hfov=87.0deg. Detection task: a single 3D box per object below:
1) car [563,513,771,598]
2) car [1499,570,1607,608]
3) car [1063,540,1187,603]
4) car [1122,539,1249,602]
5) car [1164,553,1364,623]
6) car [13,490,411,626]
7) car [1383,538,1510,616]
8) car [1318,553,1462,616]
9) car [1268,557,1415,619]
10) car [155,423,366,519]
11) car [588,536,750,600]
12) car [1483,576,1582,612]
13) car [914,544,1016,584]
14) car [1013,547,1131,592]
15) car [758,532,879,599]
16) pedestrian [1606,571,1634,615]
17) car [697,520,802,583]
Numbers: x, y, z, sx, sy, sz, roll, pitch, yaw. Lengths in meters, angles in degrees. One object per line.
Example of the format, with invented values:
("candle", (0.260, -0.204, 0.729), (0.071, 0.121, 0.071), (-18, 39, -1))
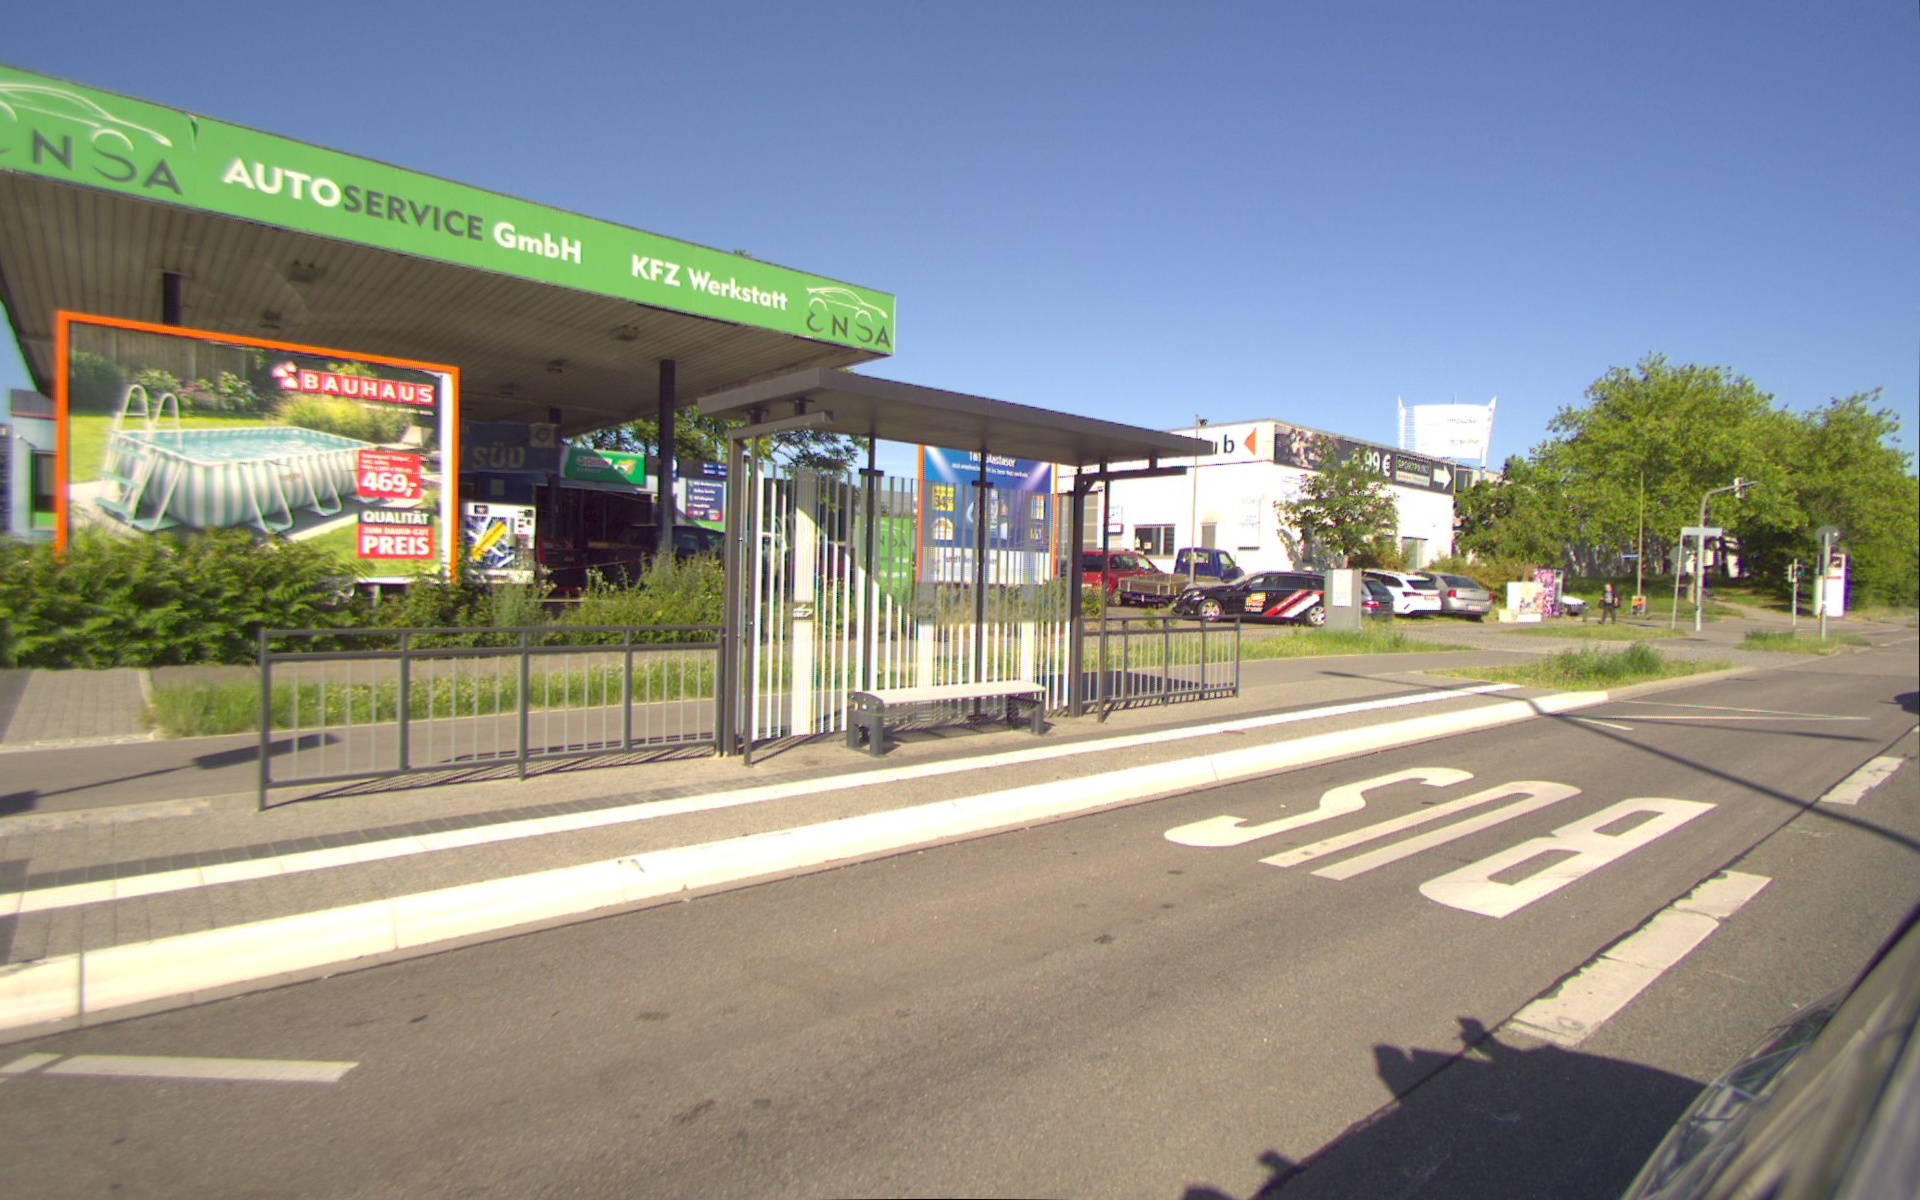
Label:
("car", (-6.357, -0.909, 22.137), (3.931, 1.668, 1.997), (-1, 1, -41))
("car", (31.986, -0.631, 54.692), (1.839, 1.958, 4.691), (0, 2, -40))
("car", (5.523, -0.975, 33.623), (4.146, 1.883, 1.896), (-1, 6, -43))
("car", (7.334, -0.972, 32.659), (4.520, 1.804, 1.686), (-1, 6, -43))
("car", (8.086, -0.357, 27.301), (4.748, 1.549, 1.901), (3, 3, 3))
("car", (-10.033, -0.526, 13.864), (4.173, 1.592, 1.748), (0, 1, -40))
("car", (16.296, -0.840, 34.140), (1.652, 2.035, 4.013), (5, 7, -9))
("car", (13.693, -0.533, 32.465), (1.690, 1.468, 3.943), (1, 8, -29))
("car", (11.371, -0.419, 30.315), (1.808, 1.304, 3.620), (-1, 9, -39))
("car", (-15.492, -2.769, 22.471), (3.711, 1.776, 1.923), (-1, 3, -40))
("car", (-7.139, -0.775, 25.105), (3.628, 1.439, 1.695), (1, 0, -6))
("car", (29.719, -0.348, 52.625), (1.868, 1.665, 4.100), (-2, 4, -39))
("car", (0.159, -1.534, 42.183), (1.960, 1.425, 4.212), (0, 4, -41))
("car", (3.950, -1.104, 35.320), (4.148, 1.266, 1.770), (-4, 10, -43))
("car", (-4.277, -1.105, 30.225), (1.817, 1.565, 3.775), (-3, 10, -41))
("pedestrian", (26.561, -0.272, 40.750), (0.607, 1.737, 0.759), (0, 2, -41))
("car", (-6.995, -1.546, 33.449), (1.890, 1.931, 3.697), (0, 1, -40))
